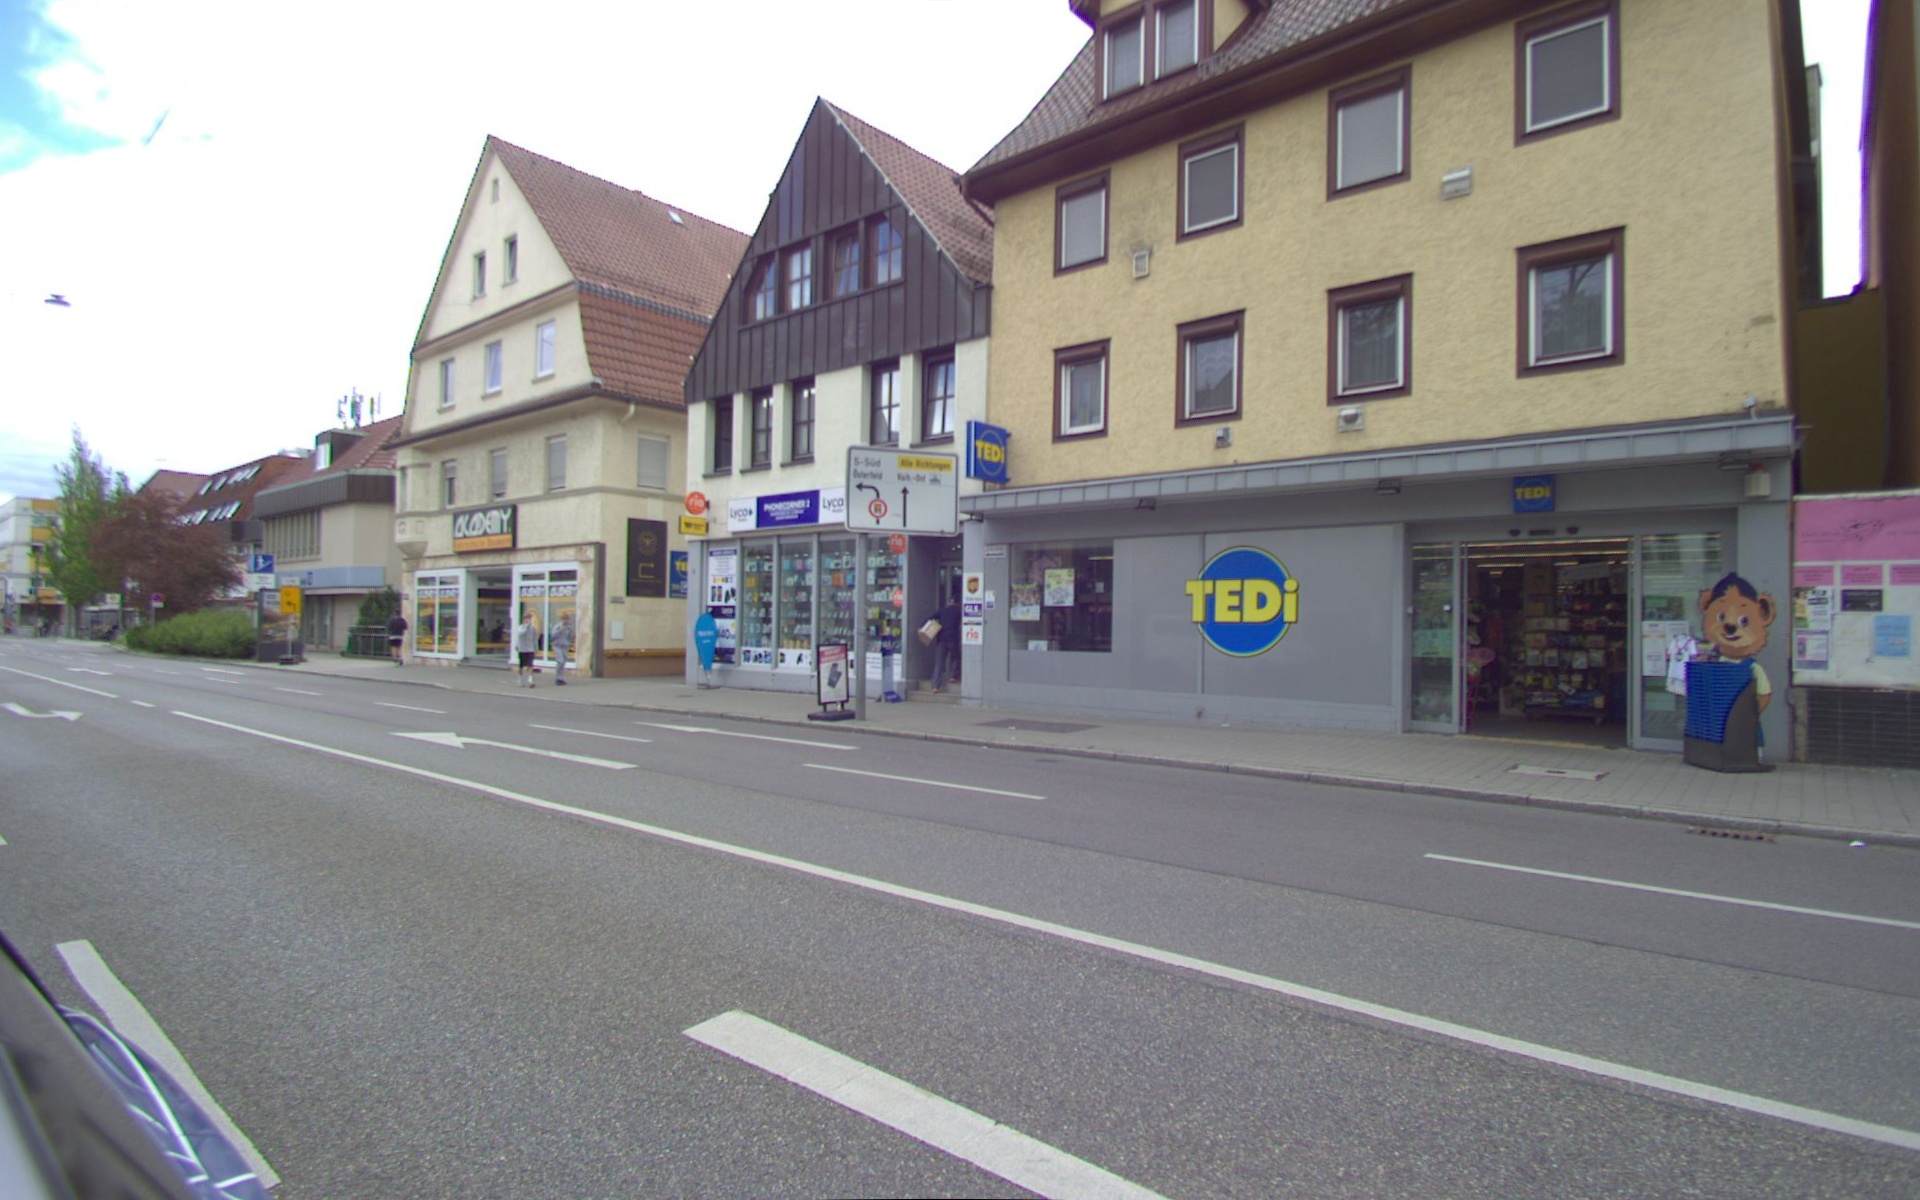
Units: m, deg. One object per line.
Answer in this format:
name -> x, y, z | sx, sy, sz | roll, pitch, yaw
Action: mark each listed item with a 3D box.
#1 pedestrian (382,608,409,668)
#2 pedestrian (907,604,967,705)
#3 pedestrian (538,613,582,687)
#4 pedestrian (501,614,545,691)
pedestrian -> -18.104, 1.213, 32.437 | 0.592, 1.903, 0.544 | -1, 0, 37
pedestrian -> -0.404, 0.938, 17.792 | 0.775, 1.726, 0.679 | -1, -1, 42
pedestrian -> -9.369, 1.158, 23.713 | 0.709, 1.683, 0.680 | -1, 0, 41
pedestrian -> -9.994, 1.180, 23.152 | 0.742, 1.703, 0.680 | -1, -1, 41
